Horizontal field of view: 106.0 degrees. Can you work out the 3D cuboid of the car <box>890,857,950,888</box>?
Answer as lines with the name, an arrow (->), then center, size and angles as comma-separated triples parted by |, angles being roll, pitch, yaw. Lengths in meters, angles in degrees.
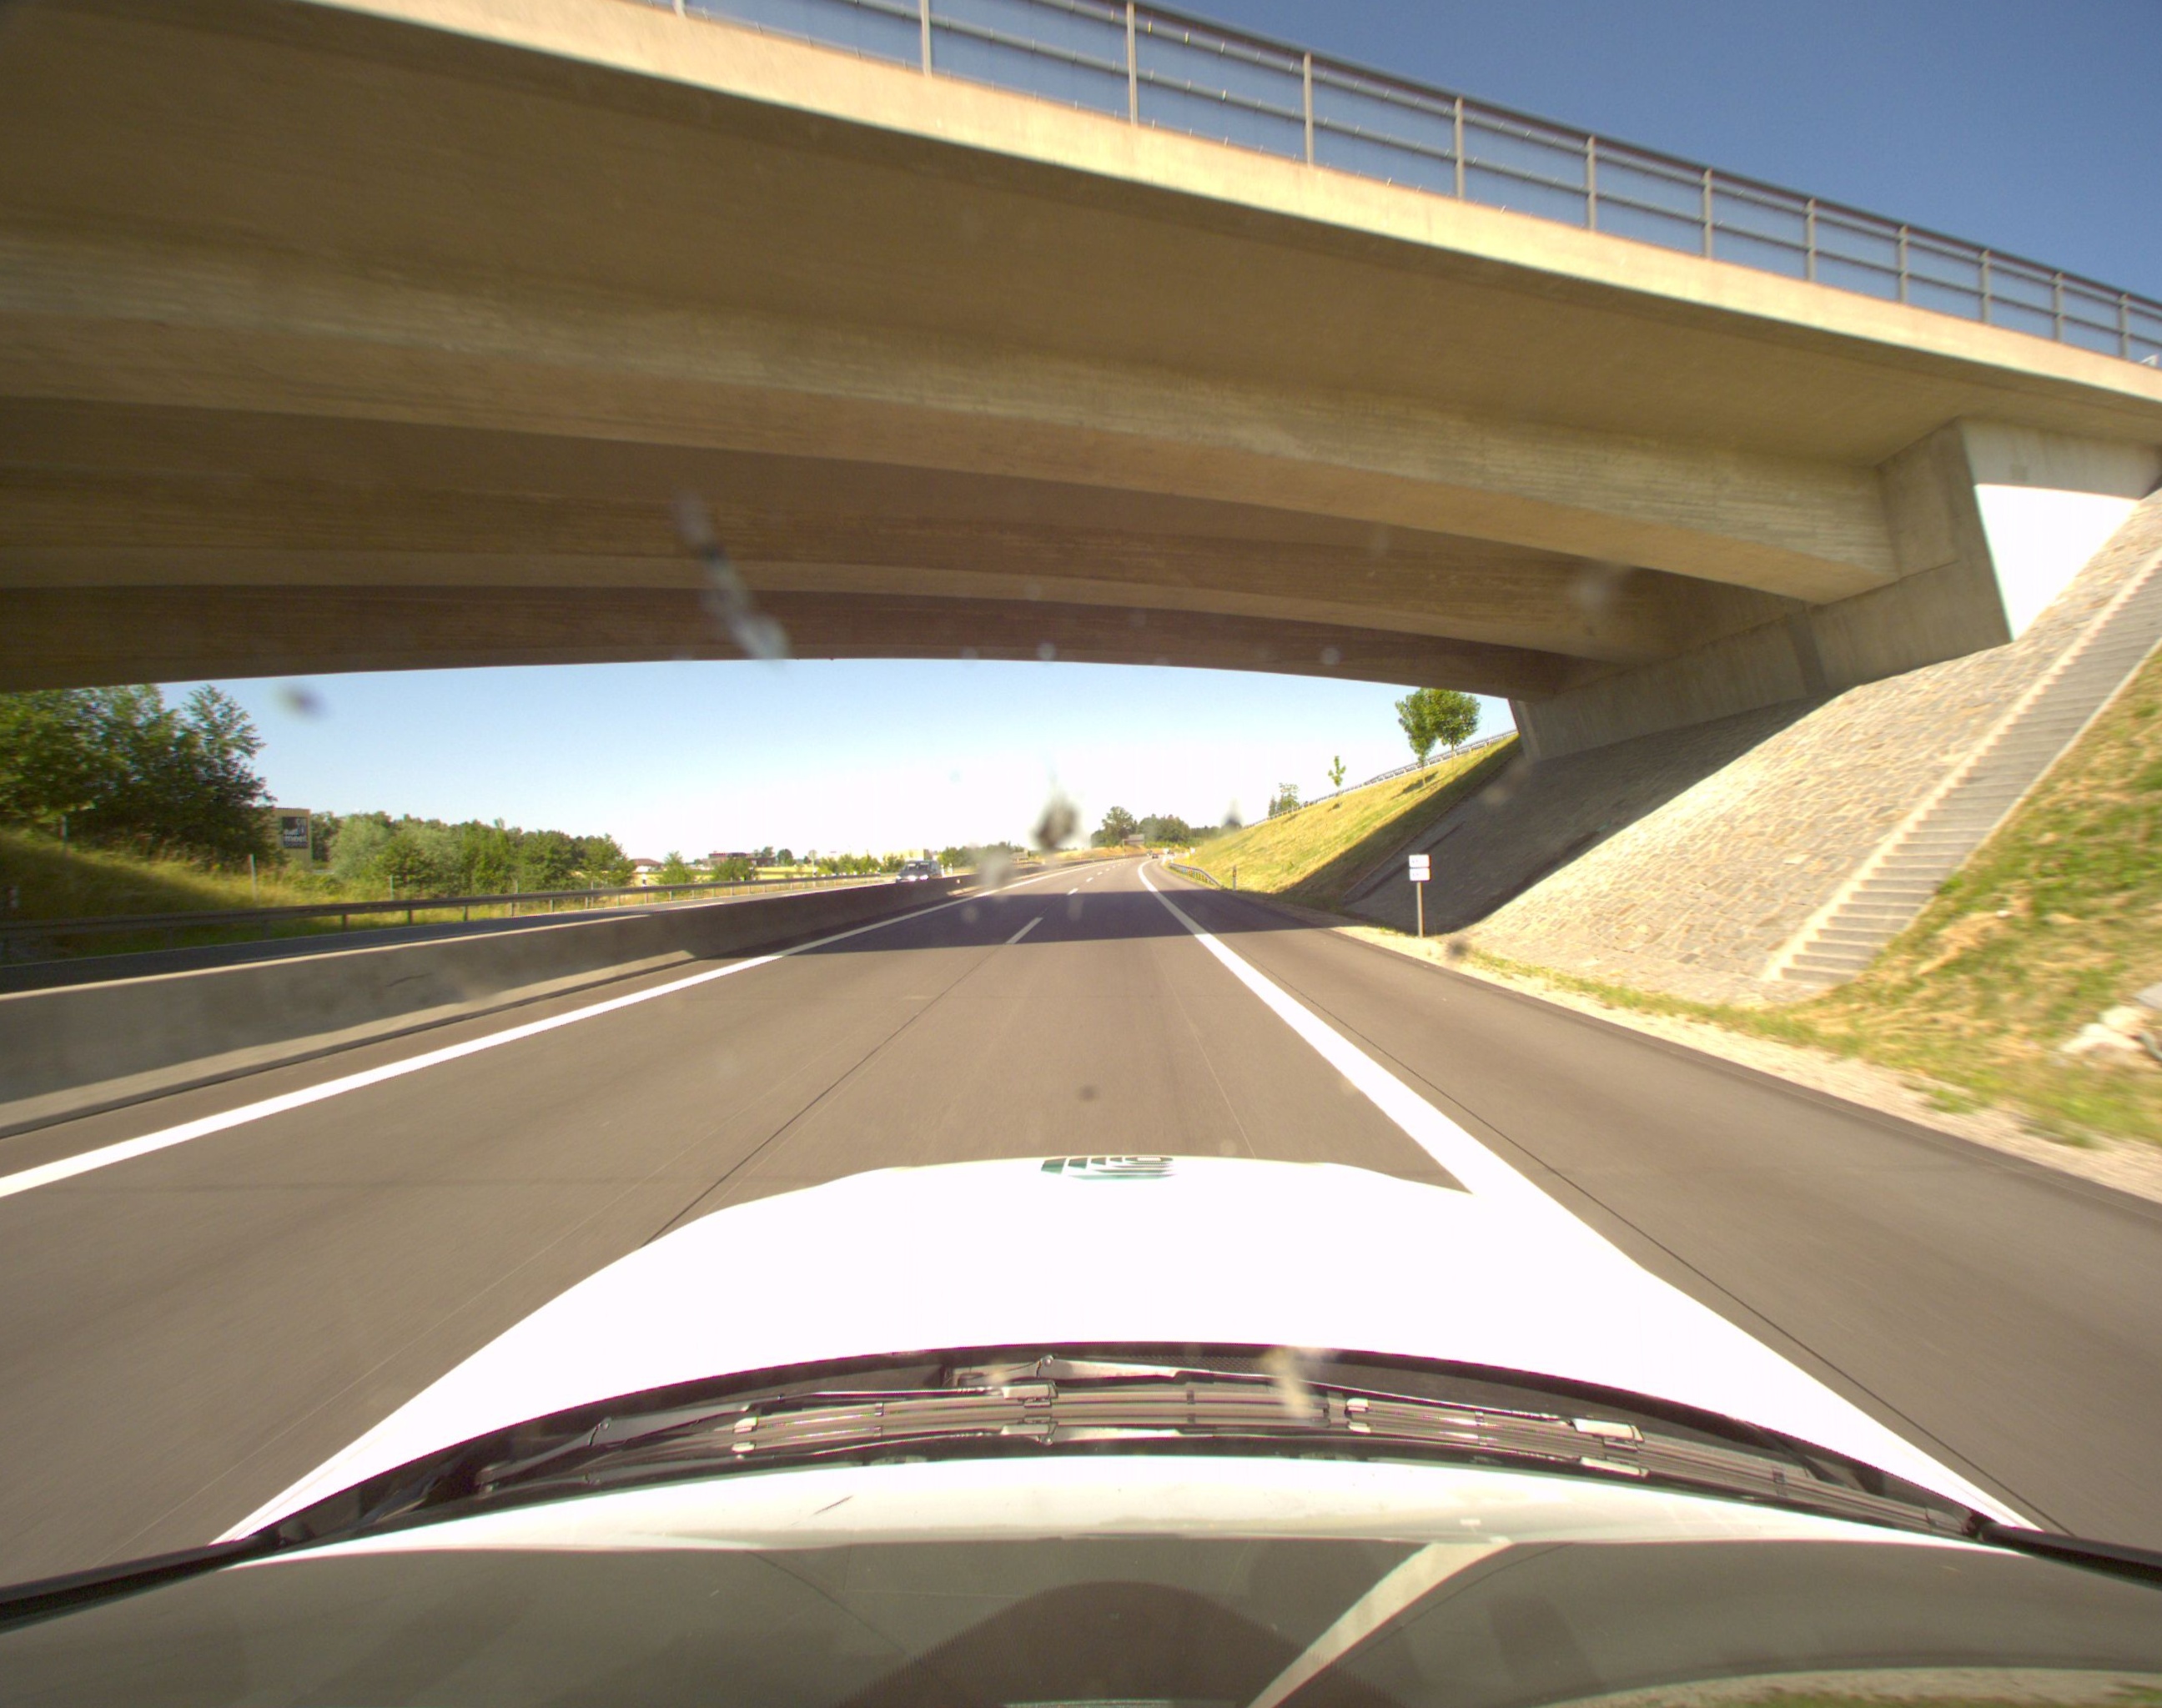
car -> -8.730, 0.962, 44.578 | 2.061, 1.574, 4.929 | -1, 0, 2

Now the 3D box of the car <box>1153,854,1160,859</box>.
car -> 22.906, 0.850, 246.903 | 1.983, 1.420, 4.008 | -3, 0, 7
